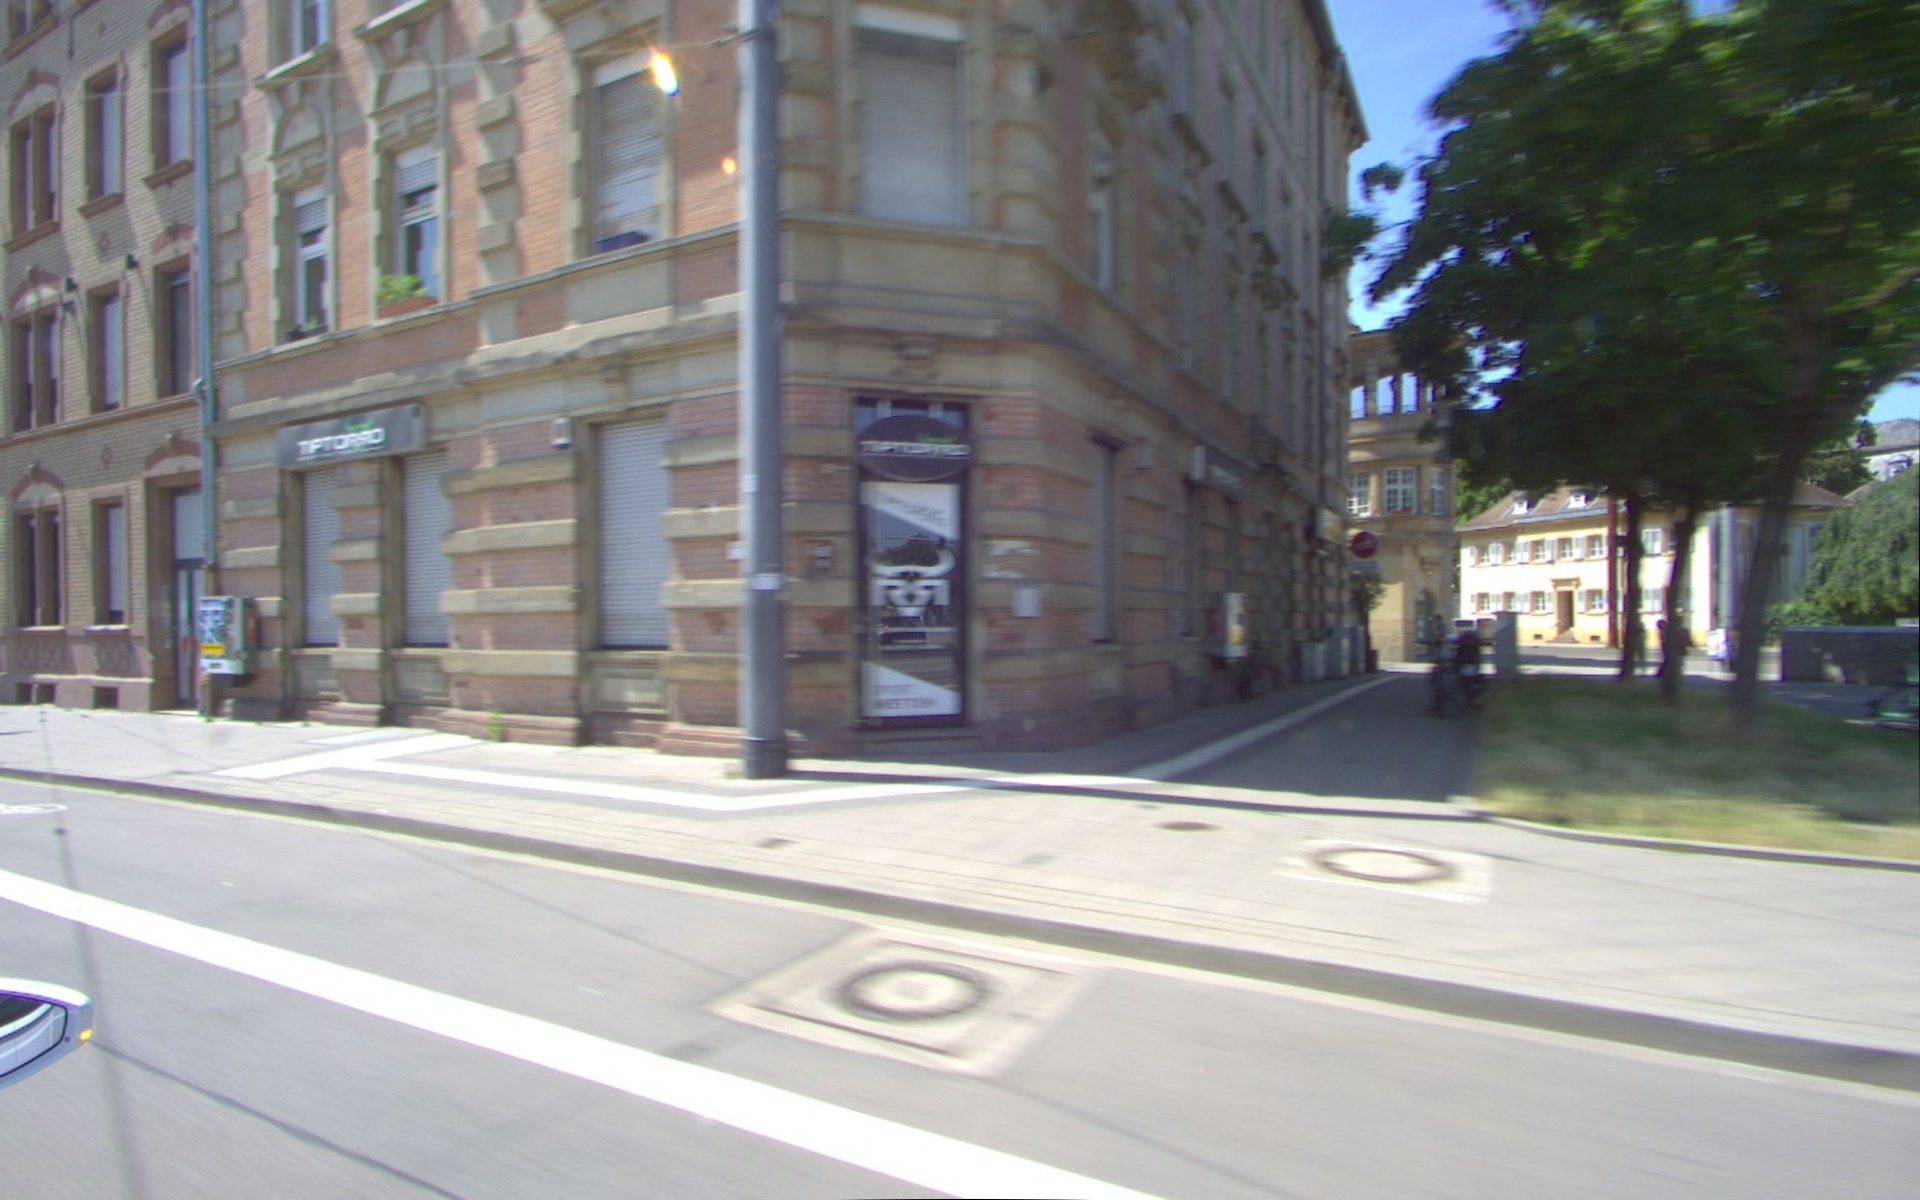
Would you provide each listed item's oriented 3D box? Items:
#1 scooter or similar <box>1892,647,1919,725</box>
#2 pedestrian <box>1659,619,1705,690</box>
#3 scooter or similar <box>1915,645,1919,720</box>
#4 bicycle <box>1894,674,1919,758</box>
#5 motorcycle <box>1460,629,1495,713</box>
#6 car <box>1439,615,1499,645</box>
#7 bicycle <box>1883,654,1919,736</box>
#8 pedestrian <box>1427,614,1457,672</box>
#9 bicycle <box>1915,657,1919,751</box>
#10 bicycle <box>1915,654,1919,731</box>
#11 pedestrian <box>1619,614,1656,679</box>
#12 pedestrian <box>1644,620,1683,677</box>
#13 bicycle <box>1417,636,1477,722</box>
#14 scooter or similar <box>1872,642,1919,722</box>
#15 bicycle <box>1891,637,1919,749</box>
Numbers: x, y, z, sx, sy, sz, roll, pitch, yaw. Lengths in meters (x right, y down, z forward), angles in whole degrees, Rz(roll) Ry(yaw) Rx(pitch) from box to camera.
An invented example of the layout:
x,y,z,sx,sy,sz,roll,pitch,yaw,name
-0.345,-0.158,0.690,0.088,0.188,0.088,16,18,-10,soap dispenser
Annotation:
x,y,z,sx,sy,sz,roll,pitch,yaw,name
14.363,1.277,14.775,0.263,1.140,0.987,0,0,-5,scooter or similar
16.517,1.233,22.911,0.603,1.617,0.601,0,0,-10,pedestrian
14.761,1.248,14.825,0.263,1.140,0.987,0,0,-5,scooter or similar
11.340,1.300,11.066,1.406,0.917,0.455,0,0,25,bicycle
8.636,1.149,16.690,0.495,1.307,1.639,0,-1,28,motorcycle
32.375,1.893,63.807,1.611,1.806,3.478,0,-1,-11,car
12.374,1.195,12.368,0.452,1.005,1.415,0,-1,-43,bicycle
14.503,1.281,30.130,0.603,1.721,0.585,0,0,-11,pedestrian
10.664,1.072,9.793,1.812,0.978,0.644,0,0,32,bicycle
13.375,1.218,12.864,1.541,1.005,0.503,0,0,15,bicycle
18.227,1.250,26.952,0.603,1.721,0.585,0,0,-10,pedestrian
18.467,1.264,26.274,0.574,1.462,0.614,0,0,-10,pedestrian
7.404,1.165,15.278,0.702,1.193,1.877,0,-1,22,bicycle
14.039,1.197,14.742,0.263,1.140,0.987,0,0,-5,scooter or similar
11.045,0.984,10.466,1.809,1.161,0.645,0,0,25,bicycle
